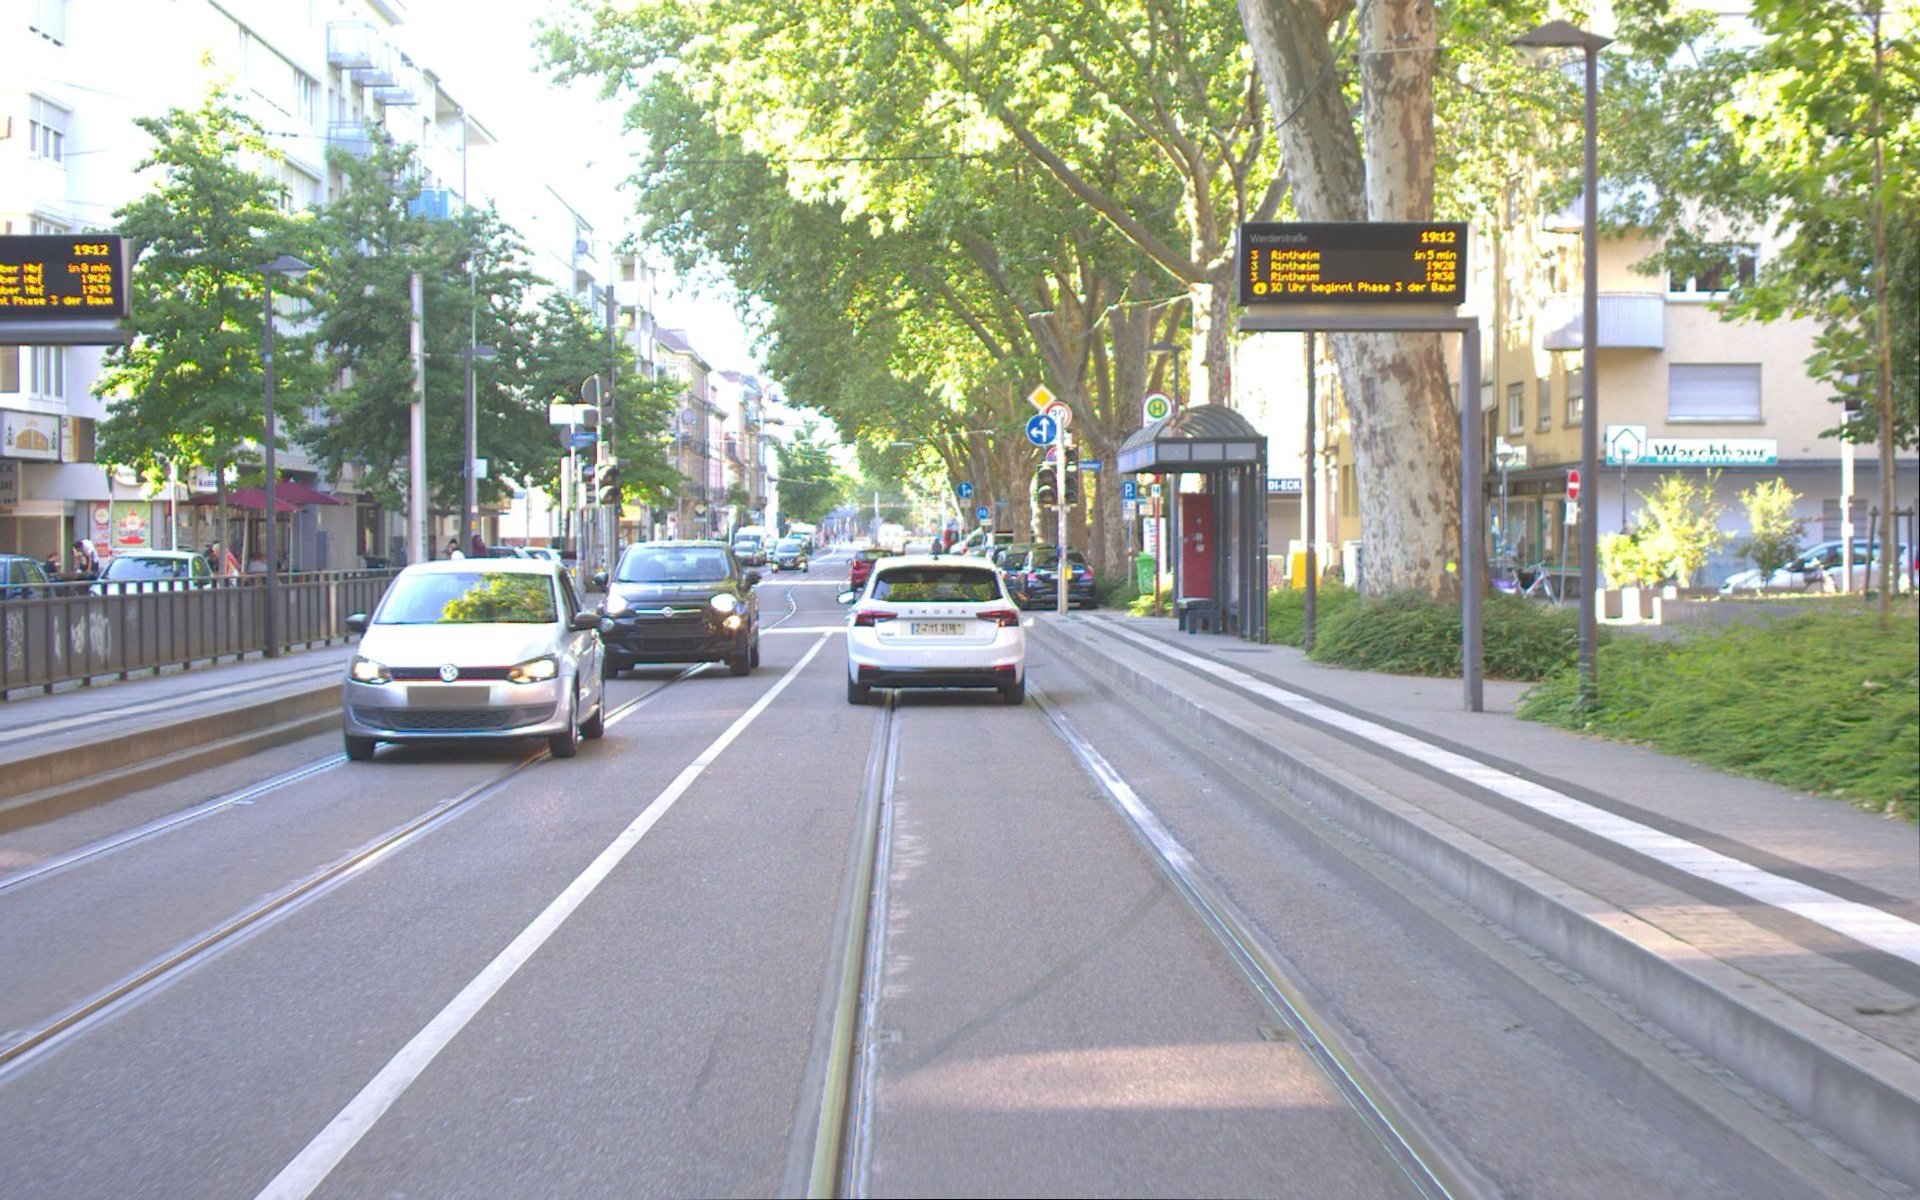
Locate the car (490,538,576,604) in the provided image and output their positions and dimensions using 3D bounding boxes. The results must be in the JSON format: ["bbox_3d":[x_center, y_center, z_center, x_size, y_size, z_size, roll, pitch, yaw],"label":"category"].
[{"bbox_3d":[-10.770,-0.749,86.886,1.678,1.543,4.000,2,1,-1],"label":"car"}]

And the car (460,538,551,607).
[{"bbox_3d":[-10.895,-0.675,82.568,1.678,1.543,4.000,2,1,-1],"label":"car"}]

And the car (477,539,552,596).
[{"bbox_3d":[-12.783,-0.952,98.821,1.678,1.543,4.000,2,1,-1],"label":"car"}]

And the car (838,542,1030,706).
[{"bbox_3d":[-0.272,0.193,34.095,1.788,1.508,4.000,0,1,-1],"label":"car"}]

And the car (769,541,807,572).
[{"bbox_3d":[-8.642,-2.183,172.908,1.788,1.508,4.000,0,1,-1],"label":"car"}]

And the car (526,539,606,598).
[{"bbox_3d":[-10.894,-0.887,95.254,1.794,1.505,4.000,2,1,-1],"label":"car"}]

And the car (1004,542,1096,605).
[{"bbox_3d":[2.096,-0.644,81.289,1.993,1.448,4.000,0,1,-1],"label":"car"}]

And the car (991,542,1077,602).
[{"bbox_3d":[1.837,-0.730,86.374,1.993,1.448,4.000,0,1,-1],"label":"car"}]

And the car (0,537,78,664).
[{"bbox_3d":[-12.852,-0.043,44.859,1.678,1.543,4.000,2,1,-1],"label":"car"}]

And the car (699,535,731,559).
[{"bbox_3d":[-15.579,-3.401,218.940,1.788,1.508,4.000,0,1,-1],"label":"car"}]

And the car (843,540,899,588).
[{"bbox_3d":[-2.886,-1.186,112.666,1.788,1.508,4.000,0,1,-1],"label":"car"}]

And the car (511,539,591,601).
[{"bbox_3d":[-10.811,-0.819,91.080,1.678,1.543,4.000,2,1,-1],"label":"car"}]

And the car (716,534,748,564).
[{"bbox_3d":[-15.588,-3.505,235.533,1.991,2.067,4.000,0,1,-1],"label":"car"}]

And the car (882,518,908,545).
[{"bbox_3d":[-4.603,-4.842,243.810,1.866,1.886,4.000,0,1,-1],"label":"car"}]

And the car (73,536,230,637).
[{"bbox_3d":[-13.361,-0.247,57.019,1.678,1.543,4.000,2,1,-1],"label":"car"}]

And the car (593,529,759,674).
[{"bbox_3d":[-3.334,-0.028,40.981,1.693,1.638,4.000,0,1,-1],"label":"car"}]

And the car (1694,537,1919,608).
[{"bbox_3d":[16.619,-0.550,67.639,3.987,1.368,1.867,0,1,1],"label":"car"}]

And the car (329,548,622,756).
[{"bbox_3d":[-3.577,0.333,25.987,1.693,1.414,4.000,0,1,-1],"label":"car"}]
